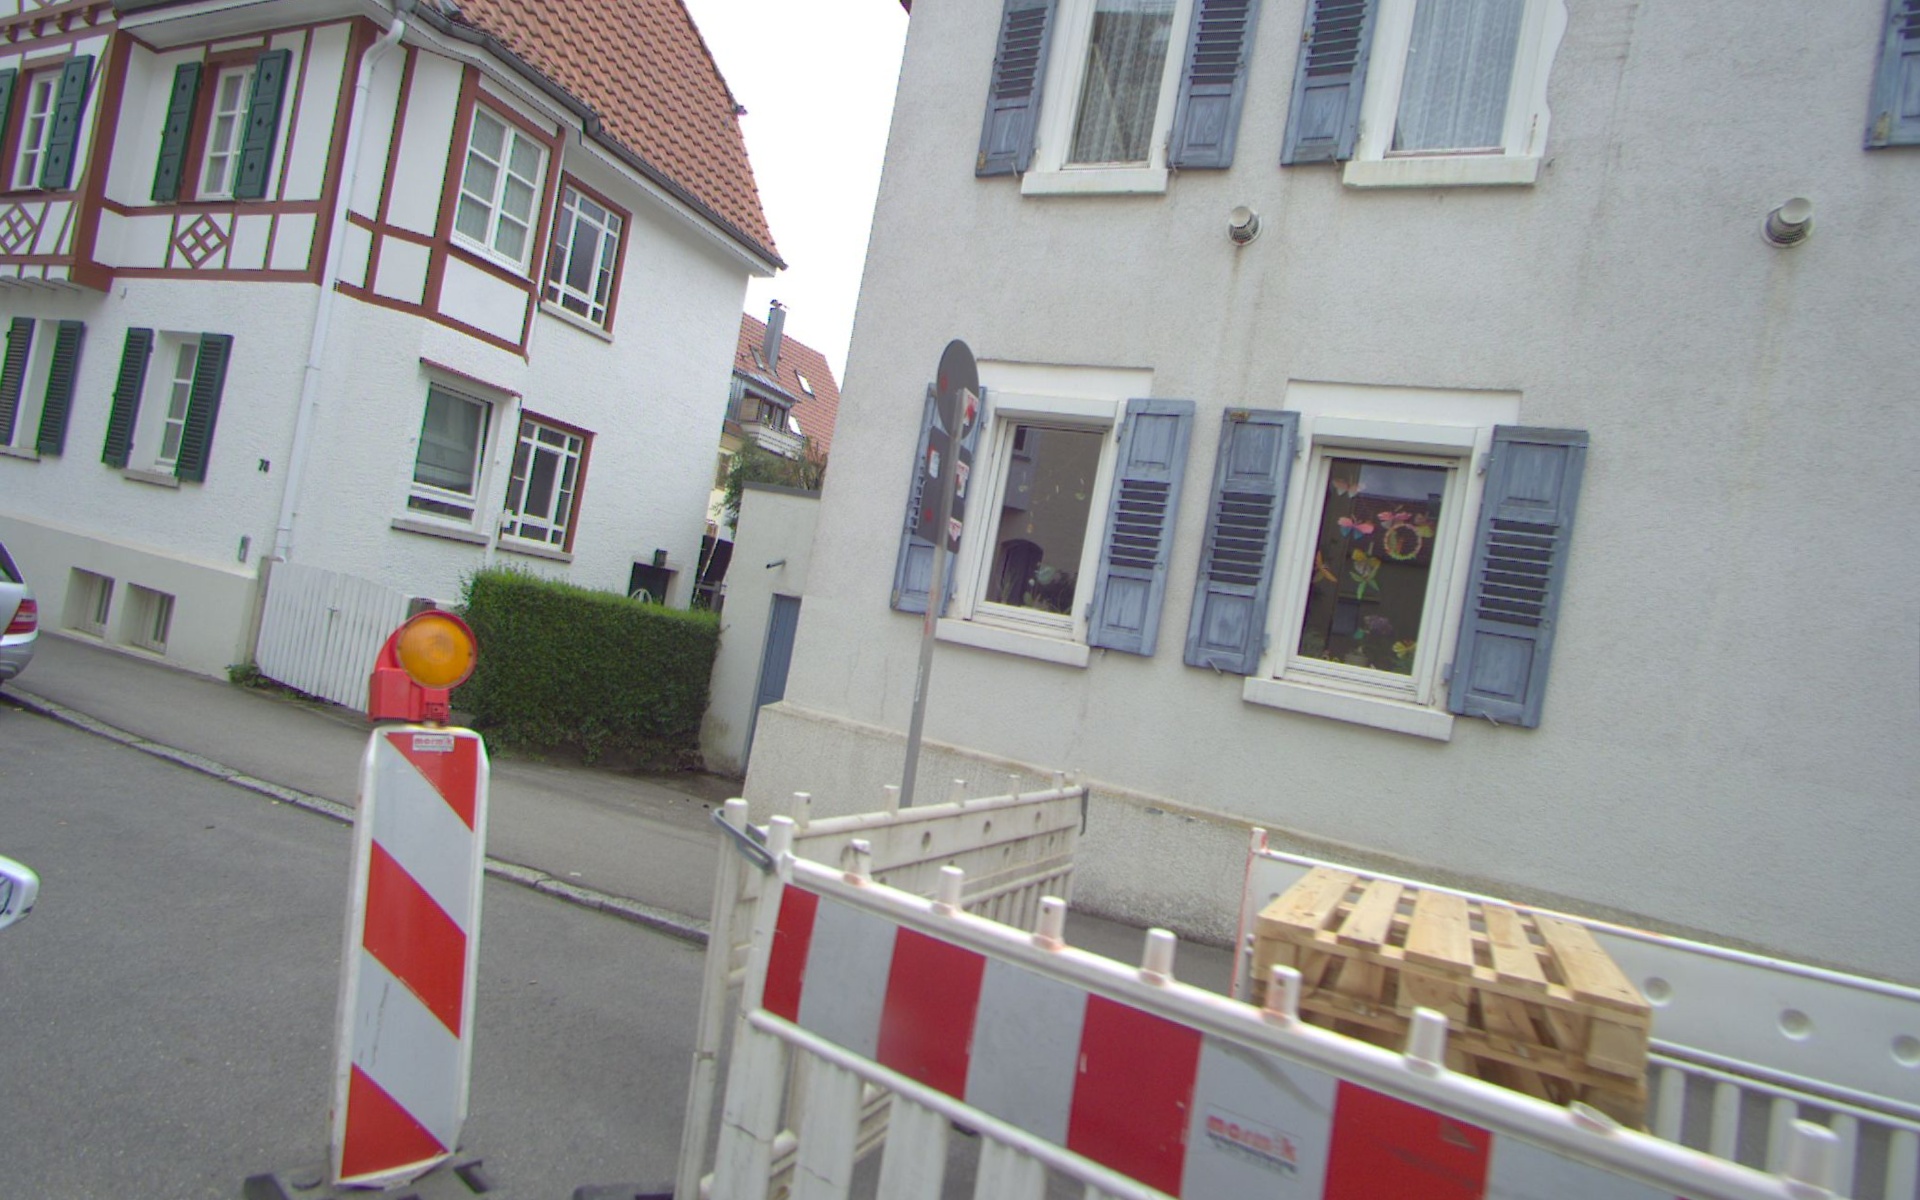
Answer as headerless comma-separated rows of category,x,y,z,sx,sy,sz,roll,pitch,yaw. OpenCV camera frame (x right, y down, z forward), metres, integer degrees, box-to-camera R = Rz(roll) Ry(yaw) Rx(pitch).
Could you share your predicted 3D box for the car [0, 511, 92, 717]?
car,-9.055,-0.221,7.732,4.371,1.457,1.827,8,-4,25
